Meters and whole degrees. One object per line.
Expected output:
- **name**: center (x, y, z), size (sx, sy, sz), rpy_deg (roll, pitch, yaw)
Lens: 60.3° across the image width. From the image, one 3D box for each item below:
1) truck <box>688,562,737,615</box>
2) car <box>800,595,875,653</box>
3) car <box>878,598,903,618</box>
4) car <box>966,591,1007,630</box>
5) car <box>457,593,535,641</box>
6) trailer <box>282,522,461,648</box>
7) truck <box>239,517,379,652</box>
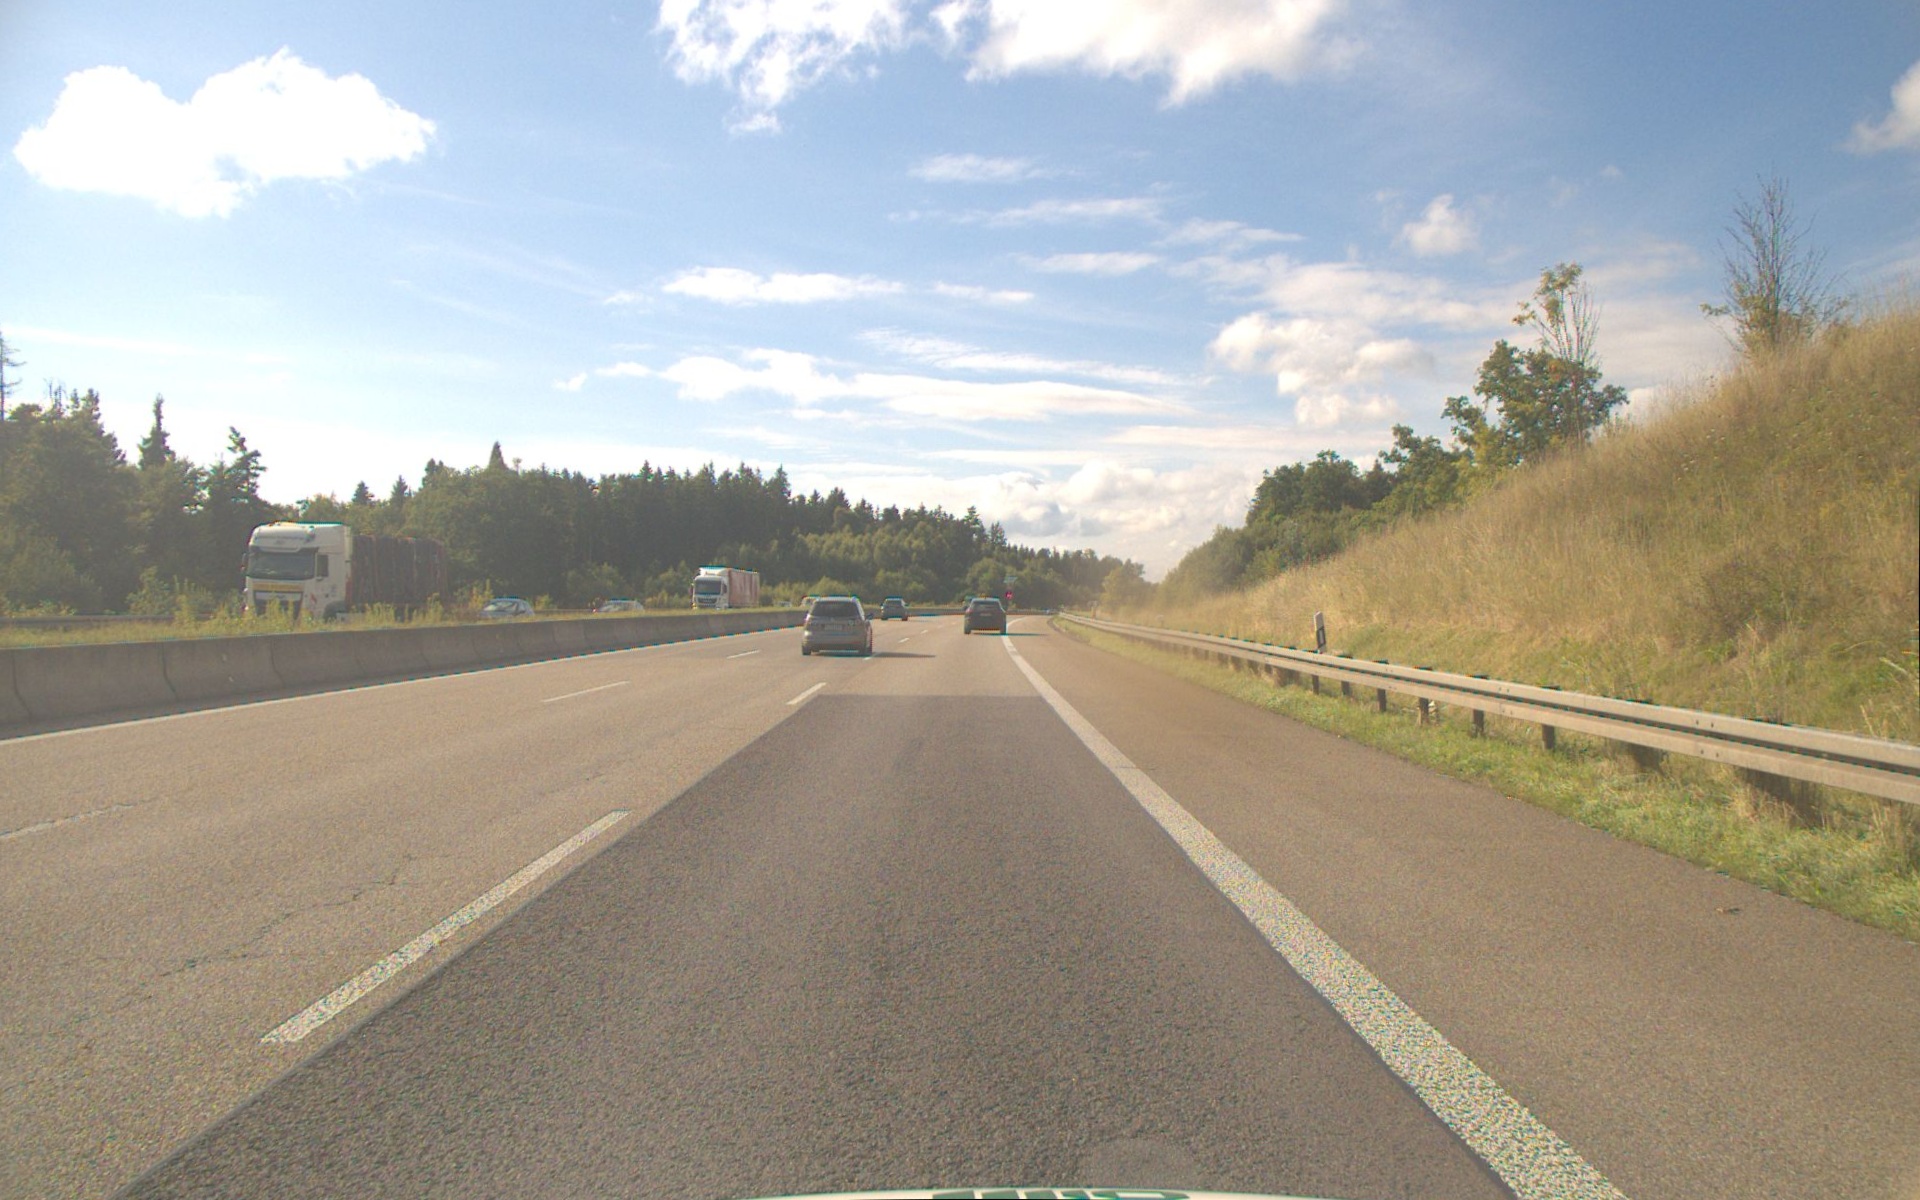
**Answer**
- **truck**: center (-20.006, -0.913, 134.018), size (2.961, 4.180, 5.669), rpy_deg (0, 0, 1)
- **car**: center (-3.340, 0.634, 45.690), size (1.835, 1.523, 3.879), rpy_deg (1, 0, -1)
- **car**: center (-5.348, 0.593, 126.937), size (1.836, 1.523, 3.878), rpy_deg (1, 0, -3)
- **car**: center (1.228, 0.463, 75.764), size (1.835, 1.704, 3.890), rpy_deg (1, 0, 1)
- **car**: center (-18.491, 0.667, 66.064), size (1.953, 1.834, 4.000), rpy_deg (0, 0, 0)
- **trailer**: center (-22.786, -0.548, 64.941), size (2.745, 4.469, 12.049), rpy_deg (0, 0, 0)
- **truck**: center (-22.750, -0.523, 58.081), size (2.745, 4.469, 5.464), rpy_deg (0, 0, 0)
